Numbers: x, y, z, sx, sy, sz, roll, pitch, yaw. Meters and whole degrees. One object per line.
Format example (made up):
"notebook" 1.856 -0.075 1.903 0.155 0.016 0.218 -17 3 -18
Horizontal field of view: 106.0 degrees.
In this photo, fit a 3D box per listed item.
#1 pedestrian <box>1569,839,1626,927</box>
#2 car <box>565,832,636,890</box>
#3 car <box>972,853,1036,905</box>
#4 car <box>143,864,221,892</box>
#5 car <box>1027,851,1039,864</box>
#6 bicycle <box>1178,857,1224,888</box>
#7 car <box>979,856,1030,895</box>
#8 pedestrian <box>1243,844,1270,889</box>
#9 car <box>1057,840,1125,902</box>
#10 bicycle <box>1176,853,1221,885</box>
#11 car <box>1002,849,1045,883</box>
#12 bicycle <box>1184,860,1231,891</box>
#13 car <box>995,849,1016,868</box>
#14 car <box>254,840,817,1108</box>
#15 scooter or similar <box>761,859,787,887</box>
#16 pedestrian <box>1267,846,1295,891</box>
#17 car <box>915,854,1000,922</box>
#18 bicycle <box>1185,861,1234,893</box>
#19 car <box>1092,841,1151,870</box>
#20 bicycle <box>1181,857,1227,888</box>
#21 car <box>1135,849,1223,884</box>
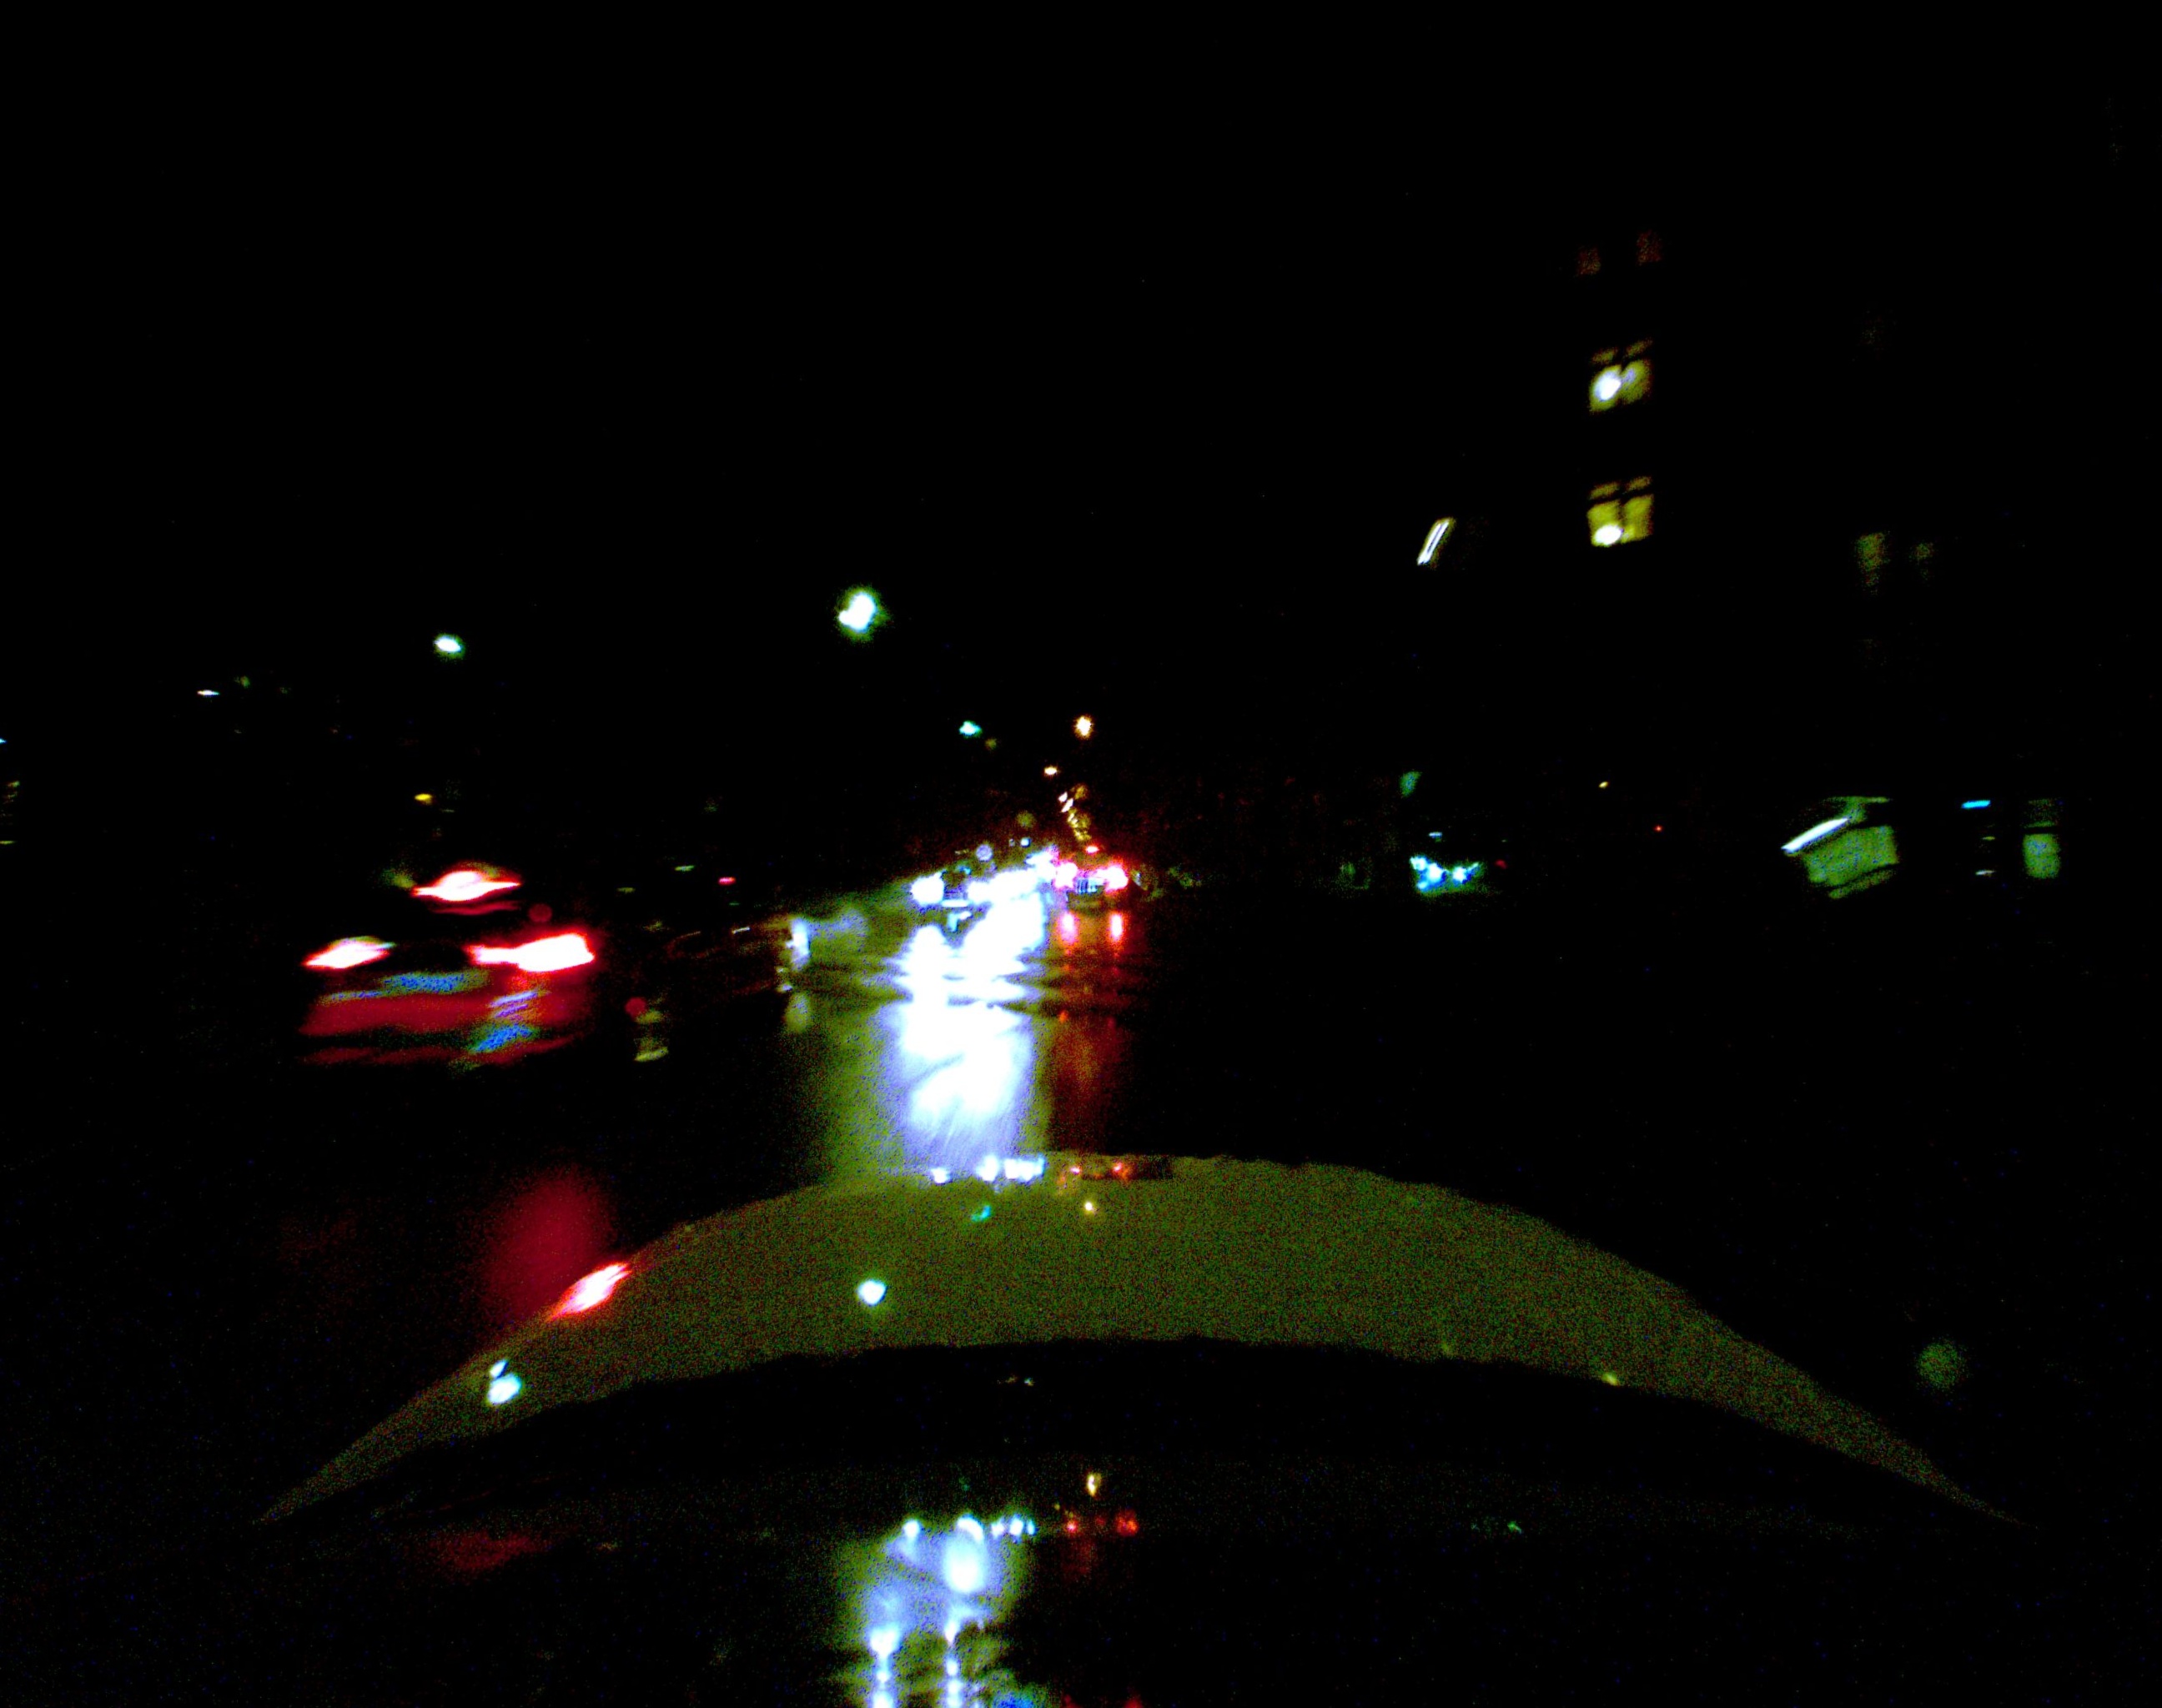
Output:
"pedestrian" 12.399 0.671 19.581 0.965 2.013 1.021 -1 3 21
"car" -16.082 0.200 27.367 1.903 1.780 4.292 -1 1 -30
"car" -2.433 0.747 26.650 1.663 1.562 4.008 -1 0 0
"car" -61.429 1.653 55.662 4.283 1.780 2.098 -1 0 20
"car" -7.211 0.519 122.553 1.721 1.972 4.216 0 0 -3
"bicycle" 5.372 0.826 36.571 1.893 1.251 0.595 -3 0 -5
"car" -2.964 0.796 32.268 1.663 1.420 4.096 -1 0 -1
"pedestrian" 7.454 0.514 34.646 0.954 1.881 1.000 -1 0 0
"car" 0.330 0.534 28.268 2.161 1.972 4.301 -1 0 0
"bicycle" 5.341 0.697 37.172 1.893 1.360 0.595 -3 -1 -5
"car" -2.712 0.545 39.548 1.782 1.554 4.853 -1 0 -1
"bicycle" 5.462 0.939 35.298 1.893 1.251 0.595 -3 0 -5
"car" -8.053 0.487 86.663 1.727 1.972 3.709 0 0 -14
"car" -3.956 0.690 7.145 1.813 1.542 4.724 -1 0 -1
"scooter or similar" -13.862 0.859 36.751 1.082 1.240 0.283 0 0 -28
"pedestrian" 7.390 0.521 30.051 0.778 1.617 1.000 -1 0 1
"car" -3.042 0.786 20.785 1.702 1.542 3.985 -1 0 -3
"bicycle" 5.391 0.961 34.266 1.893 1.251 0.709 -3 0 -5
"car" 3.685 0.092 73.145 5.034 2.391 2.115 -3 1 -38
"bicycle" 5.410 0.818 35.949 1.893 1.251 0.595 -3 0 -5
"car" 4.888 0.592 40.215 4.206 1.457 1.836 -3 1 -38
